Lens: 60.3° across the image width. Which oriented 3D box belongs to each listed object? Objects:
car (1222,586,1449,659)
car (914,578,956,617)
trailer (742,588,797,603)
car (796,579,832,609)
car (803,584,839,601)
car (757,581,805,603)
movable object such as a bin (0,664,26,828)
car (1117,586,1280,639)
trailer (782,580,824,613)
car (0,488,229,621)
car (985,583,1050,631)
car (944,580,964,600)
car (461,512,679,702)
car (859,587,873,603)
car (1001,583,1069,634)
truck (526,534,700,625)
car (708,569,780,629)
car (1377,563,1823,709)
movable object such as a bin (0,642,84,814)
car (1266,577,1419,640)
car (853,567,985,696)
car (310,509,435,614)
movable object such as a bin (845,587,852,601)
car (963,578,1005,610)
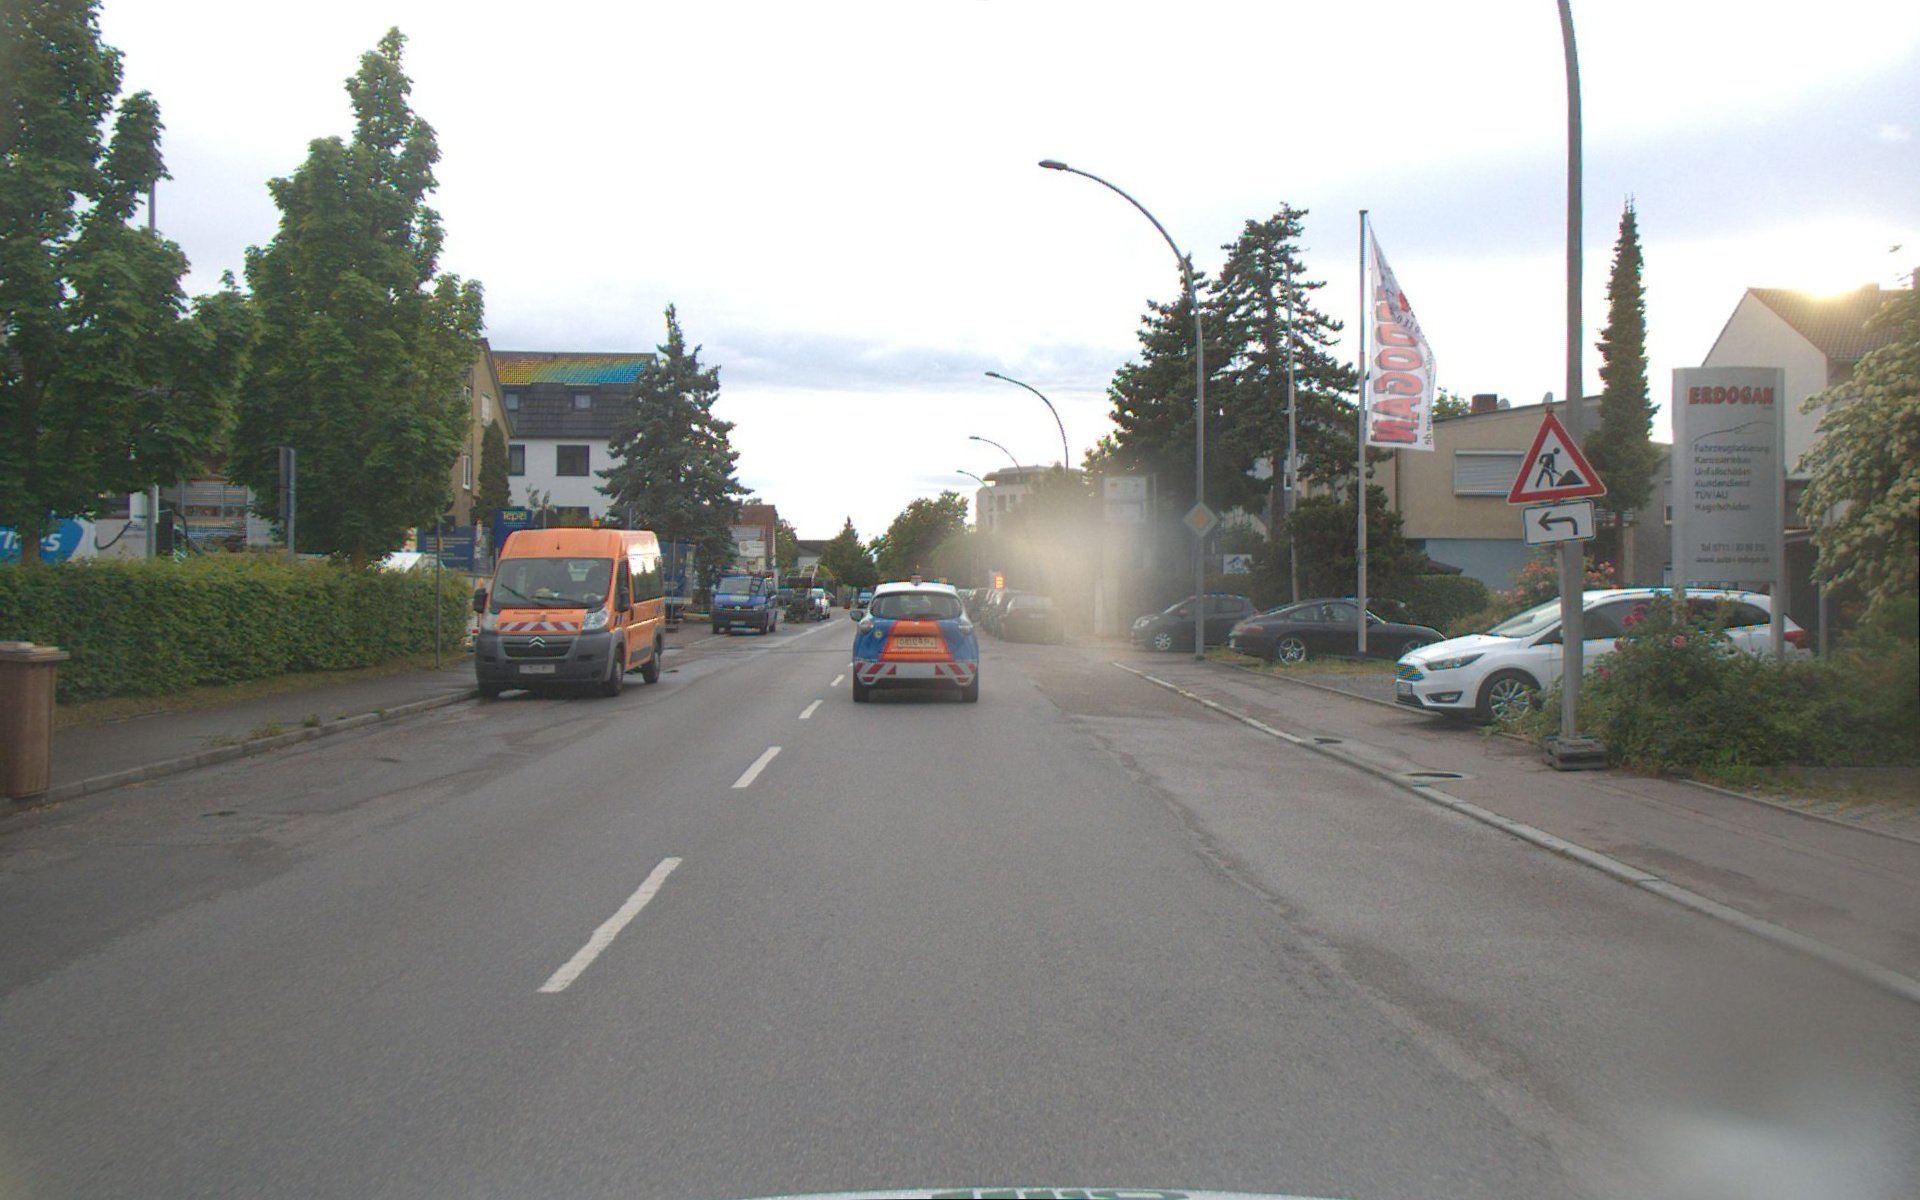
[{"bbox_3d":[7.127,0.413,31.686,3.905,1.288,1.951,1,0,0],"label":"car"},{"bbox_3d":[-1.086,-0.107,70.268,1.617,1.548,3.998,1,0,-3],"label":"car"},{"bbox_3d":[-14.153,-0.337,122.847,3.942,1.012,1.654,1,0,-3],"label":"trailer"},{"bbox_3d":[-7.289,-0.292,82.765,1.526,1.458,3.999,1,0,-1],"label":"car"},{"bbox_3d":[-12.822,-0.668,152.216,3.218,1.473,1.478,-1,1,-6],"label":"car"},{"bbox_3d":[-13.539,-0.620,125.332,3.511,1.553,1.653,1,0,-6],"label":"car"},{"bbox_3d":[-6.764,0.994,11.201,0.481,1.101,0.621,1,0,3],"label":"movable object such as a bin"},{"bbox_3d":[6.207,0.323,43.339,3.907,1.288,1.950,1,0,-3],"label":"car"},{"bbox_3d":[-7.106,-0.170,75.358,1.683,1.282,5.242,1,2,-3],"label":"trailer"},{"bbox_3d":[-14.564,-0.735,27.084,4.219,2.049,2.062,1,0,-1],"label":"car"},{"bbox_3d":[1.810,0.199,53.262,1.624,1.444,4.773,1,0,-4],"label":"car"},{"bbox_3d":[-0.570,-0.905,150.845,1.617,1.701,3.998,1,0,-3],"label":"car"},{"bbox_3d":[-5.968,0.056,26.152,2.082,2.581,6.020,-2,1,-2],"label":"car"},{"bbox_3d":[-9.194,-0.478,161.347,1.358,1.509,3.782,0,0,-3],"label":"car"},{"bbox_3d":[2.156,0.225,48.621,1.558,1.364,4.090,2,1,-3],"label":"car"},{"bbox_3d":[-12.606,-0.730,60.451,5.791,3.127,2.449,1,0,-1],"label":"truck"},{"bbox_3d":[-7.435,-0.039,57.315,1.953,1.981,5.363,0,0,-2],"label":"car"},{"bbox_3d":[7.042,0.382,18.485,4.251,1.501,1.902,1,0,-2],"label":"car"},{"bbox_3d":[-6.831,0.905,11.924,0.658,1.177,0.621,1,0,3],"label":"movable object such as a bin"},{"bbox_3d":[10.064,0.215,43.653,3.542,1.565,1.859,1,0,-3],"label":"car"},{"bbox_3d":[-0.589,0.402,23.052,1.697,1.659,3.493,0,0,-2],"label":"car"},{"bbox_3d":[-18.219,-1.147,51.593,2.033,3.066,5.242,1,0,-1],"label":"car"},{"bbox_3d":[-9.883,-0.571,146.330,0.568,1.225,0.318,1,0,-2],"label":"movable object such as a bin"},{"bbox_3d":[1.130,-0.283,80.672,1.677,1.463,4.523,1,0,-4],"label":"car"}]
